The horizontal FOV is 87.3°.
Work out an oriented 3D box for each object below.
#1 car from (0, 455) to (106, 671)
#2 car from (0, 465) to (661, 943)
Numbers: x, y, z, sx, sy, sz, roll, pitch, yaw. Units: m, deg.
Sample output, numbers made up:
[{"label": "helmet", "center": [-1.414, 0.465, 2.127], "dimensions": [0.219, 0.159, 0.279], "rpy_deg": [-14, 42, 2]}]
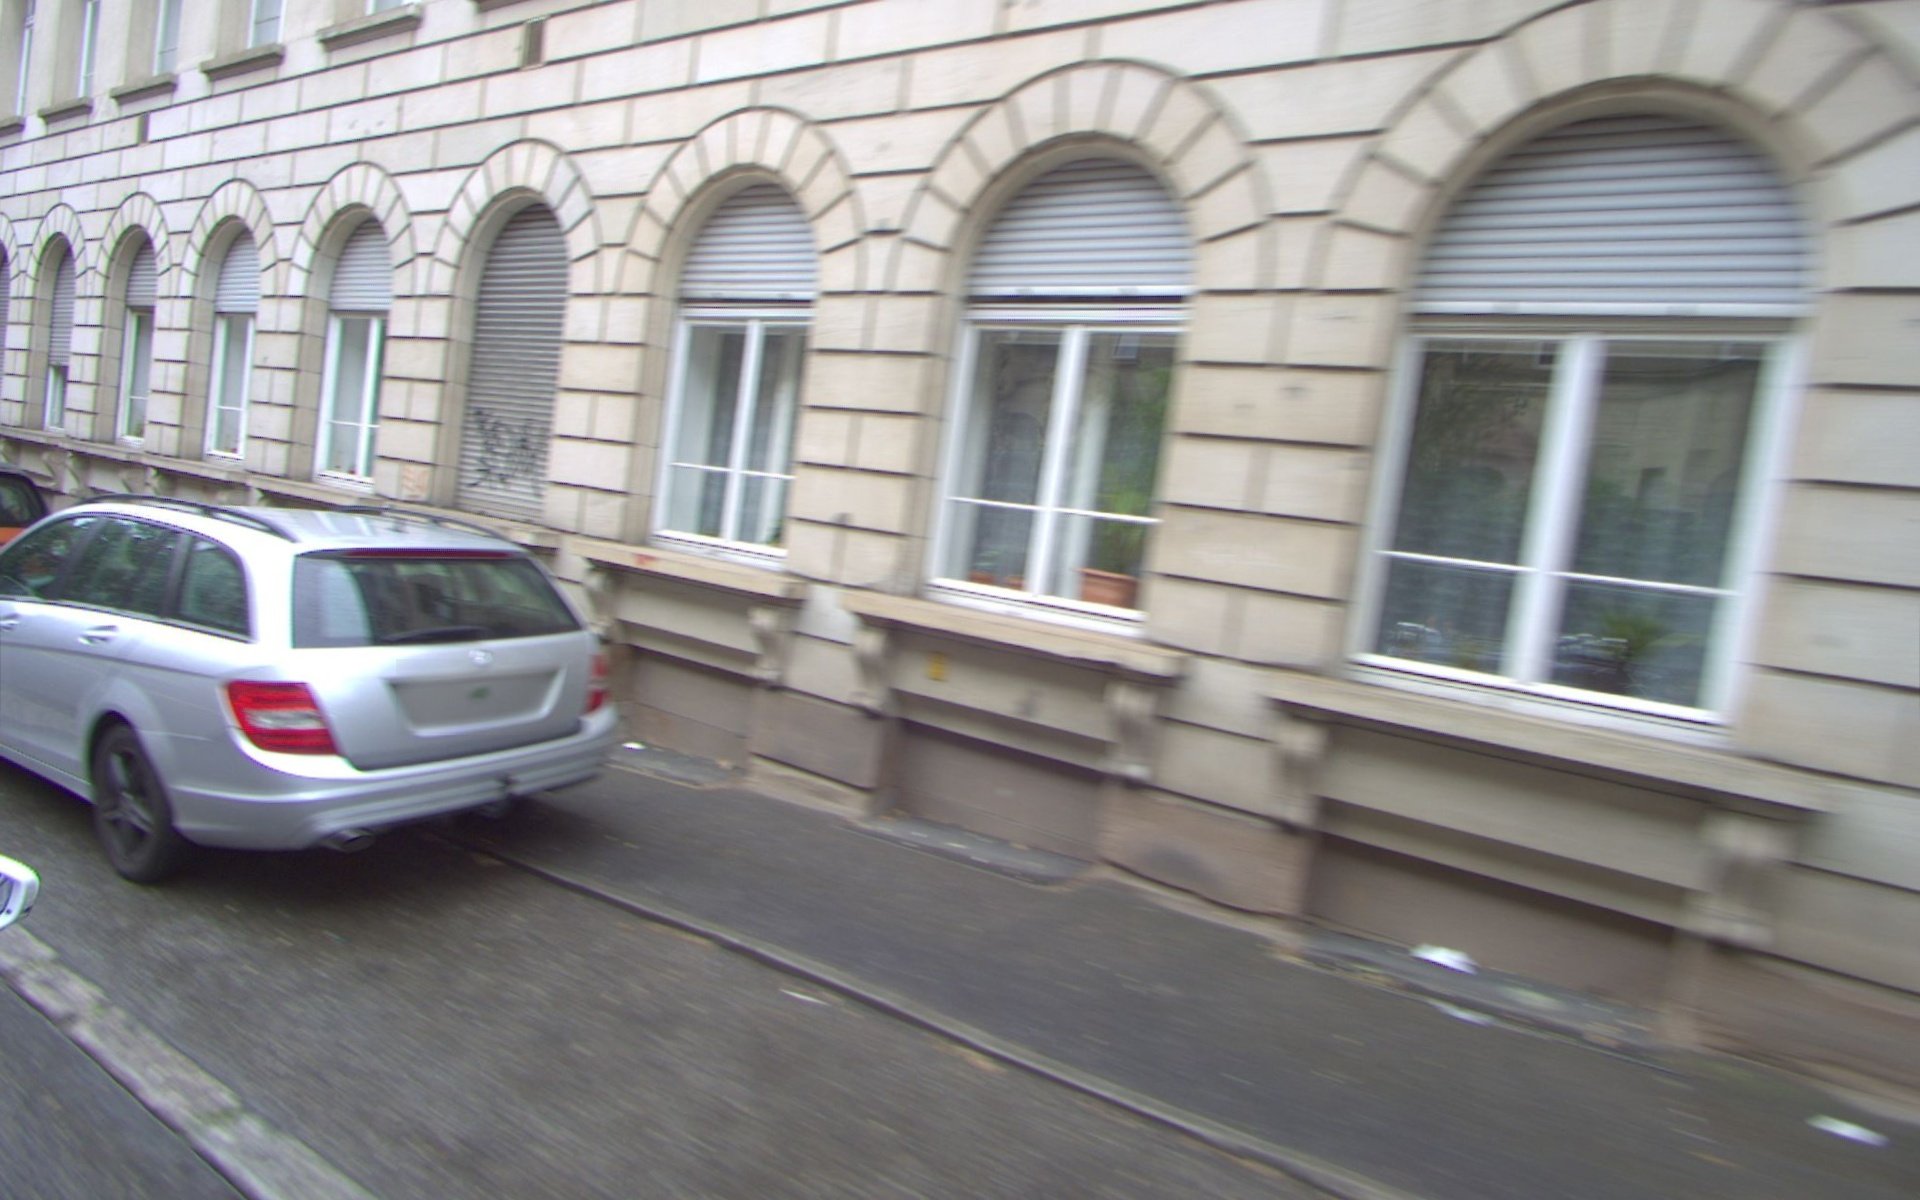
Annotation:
[{"label": "car", "center": [-8.293, -0.434, 7.765], "dimensions": [3.129, 1.541, 1.638], "rpy_deg": [7, 4, 30]}, {"label": "car", "center": [-3.735, 0.173, 5.094], "dimensions": [4.347, 1.451, 1.695], "rpy_deg": [7, 4, 30]}]
